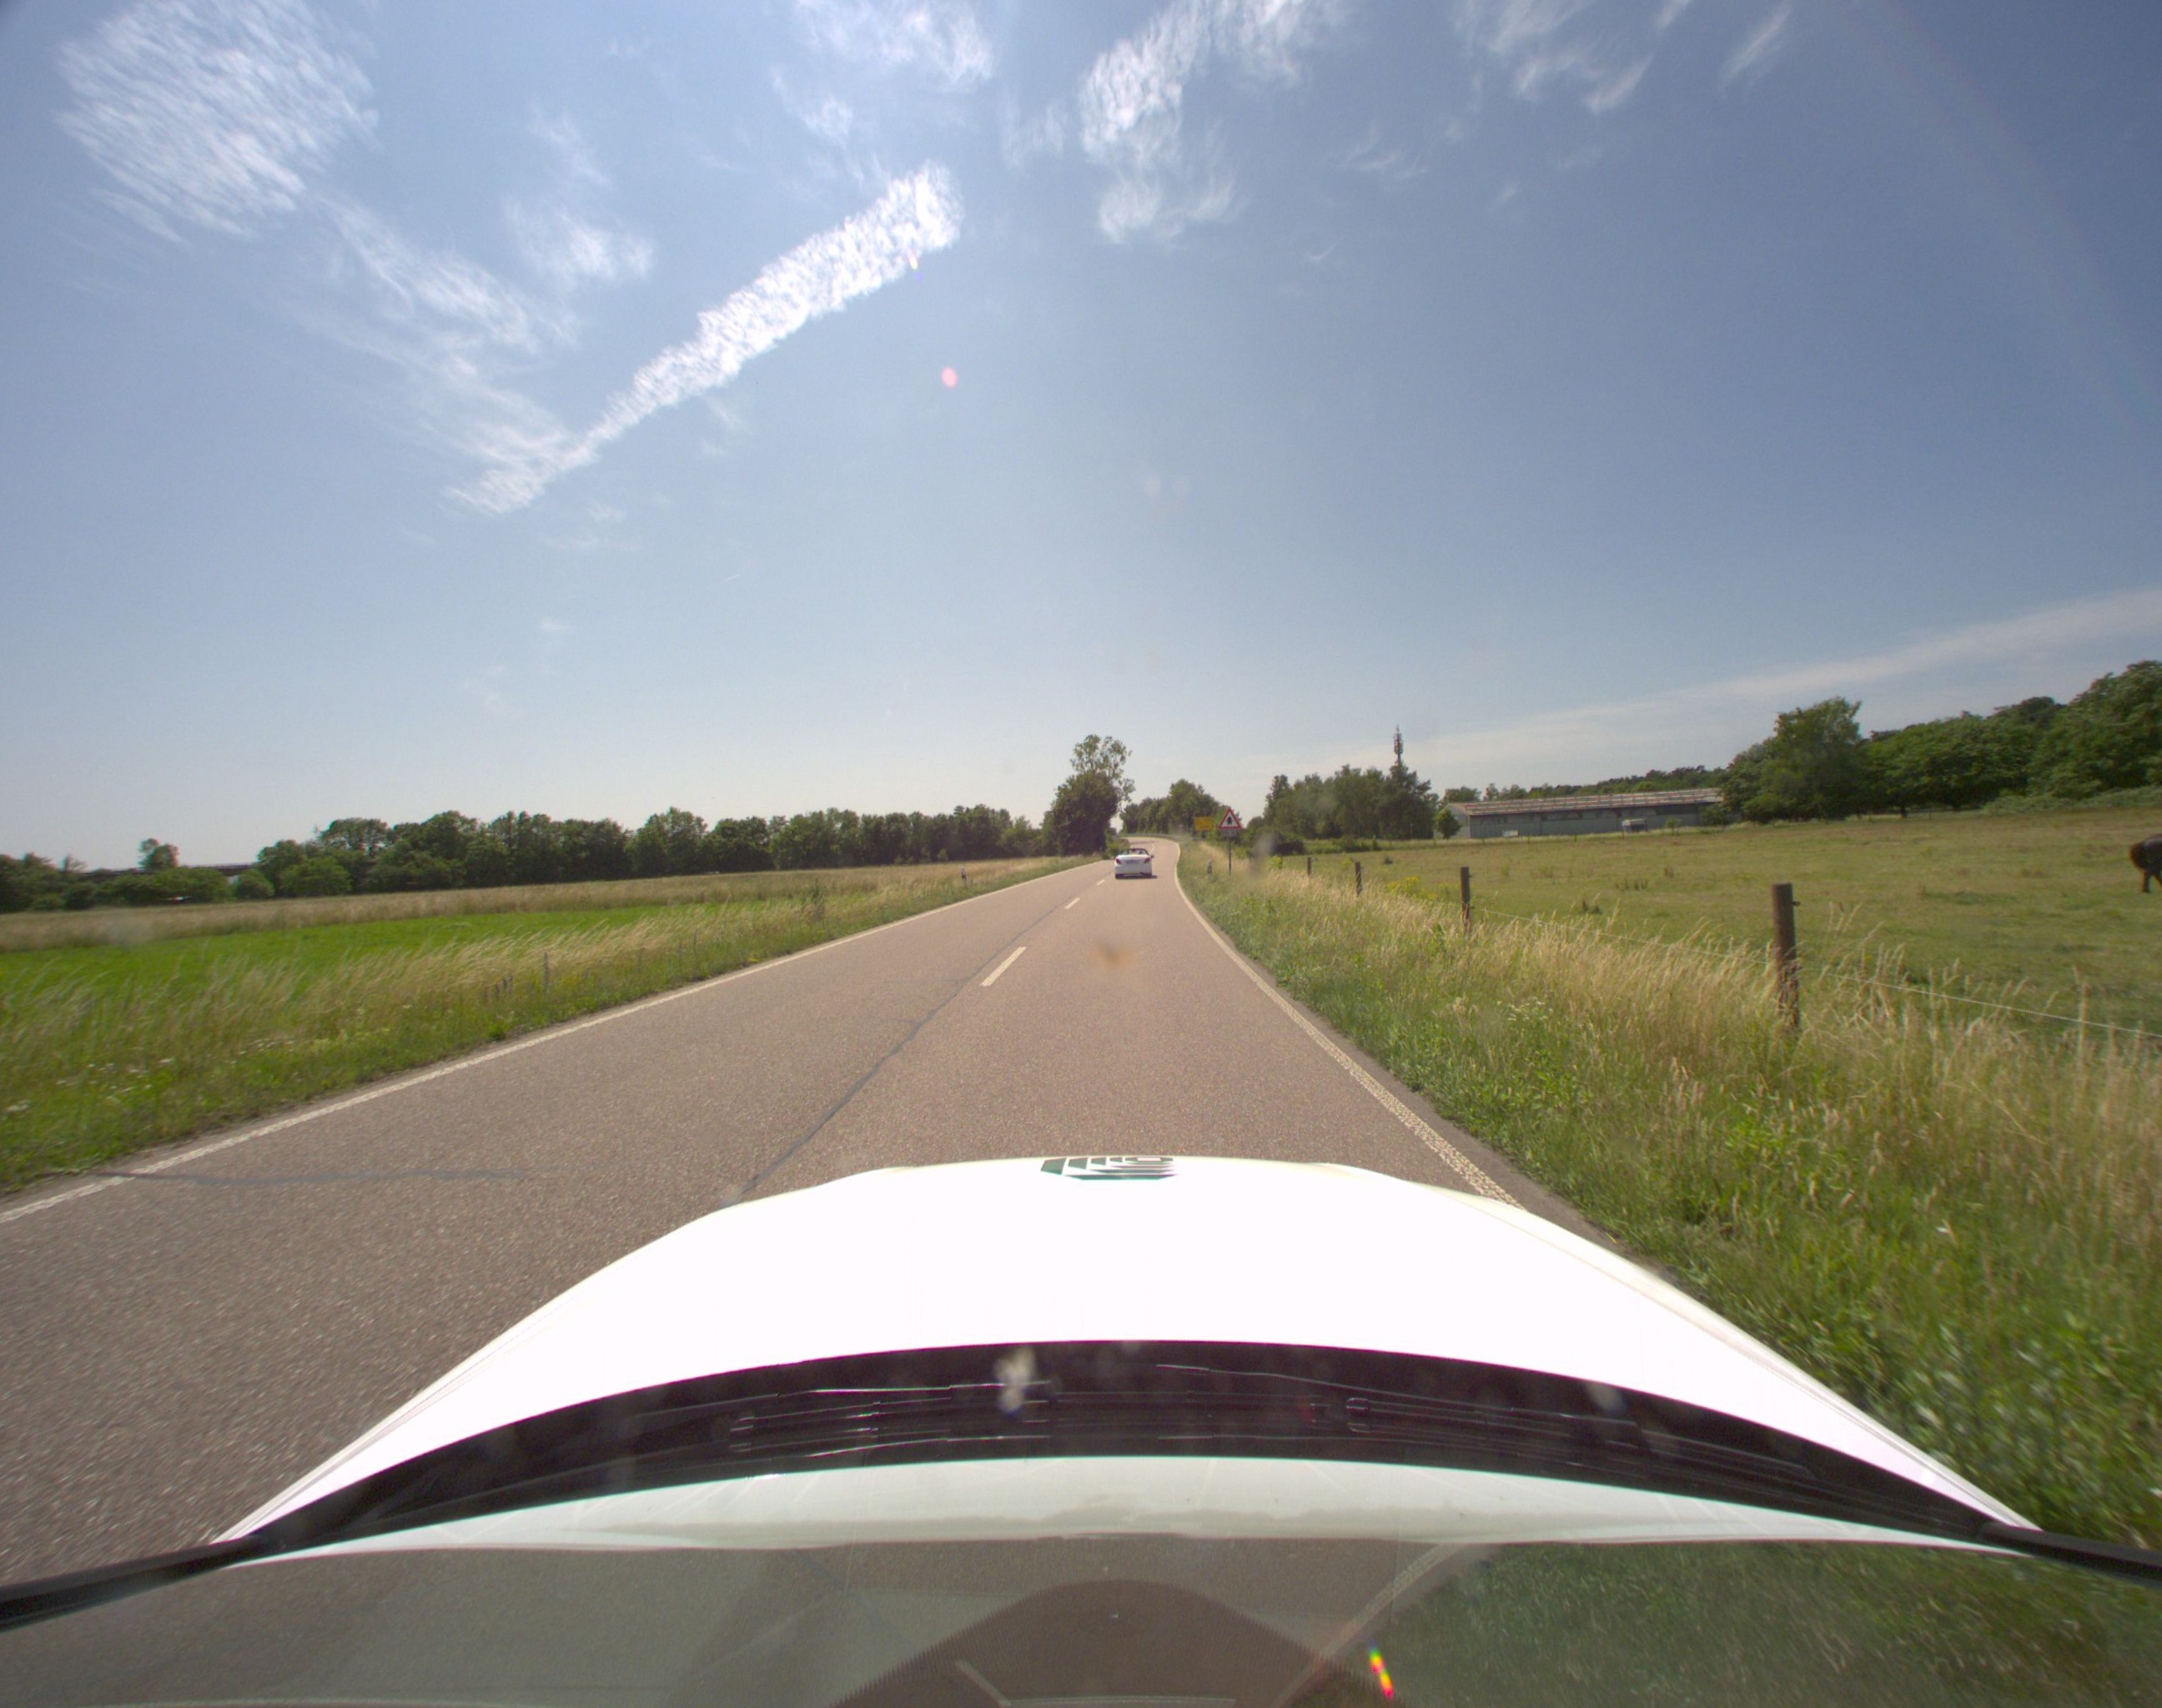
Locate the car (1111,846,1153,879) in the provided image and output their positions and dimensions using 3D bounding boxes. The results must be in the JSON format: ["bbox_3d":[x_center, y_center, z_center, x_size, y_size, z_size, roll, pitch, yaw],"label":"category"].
[{"bbox_3d":[2.477,0.373,39.065,1.842,1.379,4.007,-2,1,5],"label":"car"}]
